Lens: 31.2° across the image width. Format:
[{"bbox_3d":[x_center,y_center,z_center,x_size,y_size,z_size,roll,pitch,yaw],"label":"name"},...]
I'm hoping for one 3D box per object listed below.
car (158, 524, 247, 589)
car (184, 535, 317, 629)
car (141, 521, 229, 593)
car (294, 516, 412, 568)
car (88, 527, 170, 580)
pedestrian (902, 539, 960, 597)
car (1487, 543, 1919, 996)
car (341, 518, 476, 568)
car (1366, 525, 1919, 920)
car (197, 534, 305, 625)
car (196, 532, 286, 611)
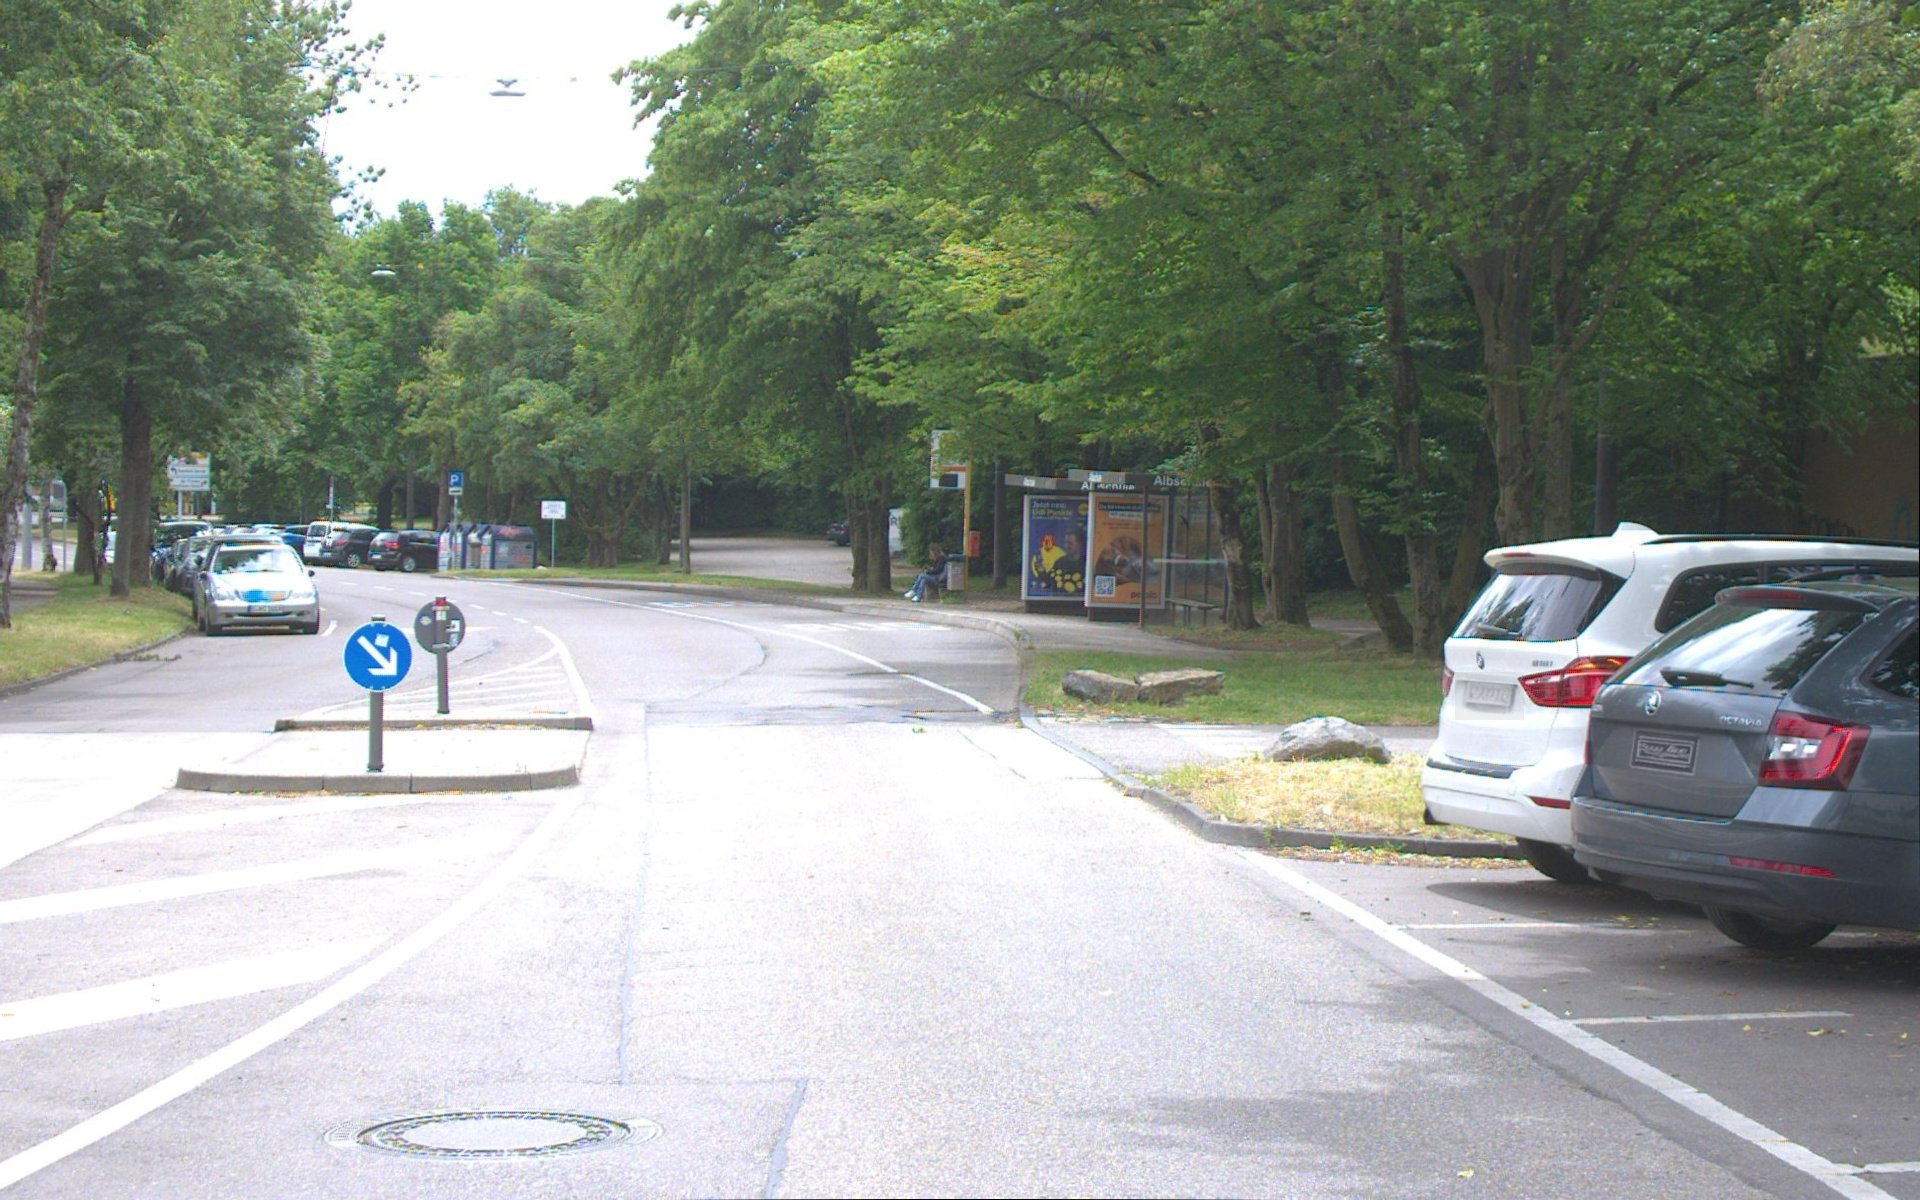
[{"bbox_3d":[-18.421,-1.065,83.505,1.865,1.533,4.228,0,1,-16],"label":"car"},{"bbox_3d":[-11.409,-0.319,55.079,1.735,1.411,4.474,-1,1,-16],"label":"car"},{"bbox_3d":[-21.044,-1.181,93.213,1.857,1.902,5.084,0,1,-18],"label":"car"},{"bbox_3d":[-22.387,-2.129,126.874,3.820,1.714,1.877,3,-1,-43],"label":"car"},{"bbox_3d":[-26.290,-1.474,108.675,1.804,1.557,4.268,-3,2,-22],"label":"car"},{"bbox_3d":[-0.591,-0.657,70.238,1.063,1.178,0.580,0,1,-15],"label":"pedestrian"},{"bbox_3d":[4.239,0.601,12.671,4.131,1.459,1.799,2,1,-19],"label":"car"},{"bbox_3d":[-18.759,-1.944,117.038,3.989,1.409,2.057,3,1,-43],"label":"car"},{"bbox_3d":[4.283,0.542,15.366,4.467,1.580,1.907,2,1,-13],"label":"car"},{"bbox_3d":[-12.561,-0.394,61.112,1.735,1.532,4.191,-1,1,-10],"label":"car"},{"bbox_3d":[-15.177,-0.627,72.459,1.735,1.573,4.143,-1,1,-13],"label":"car"}]
